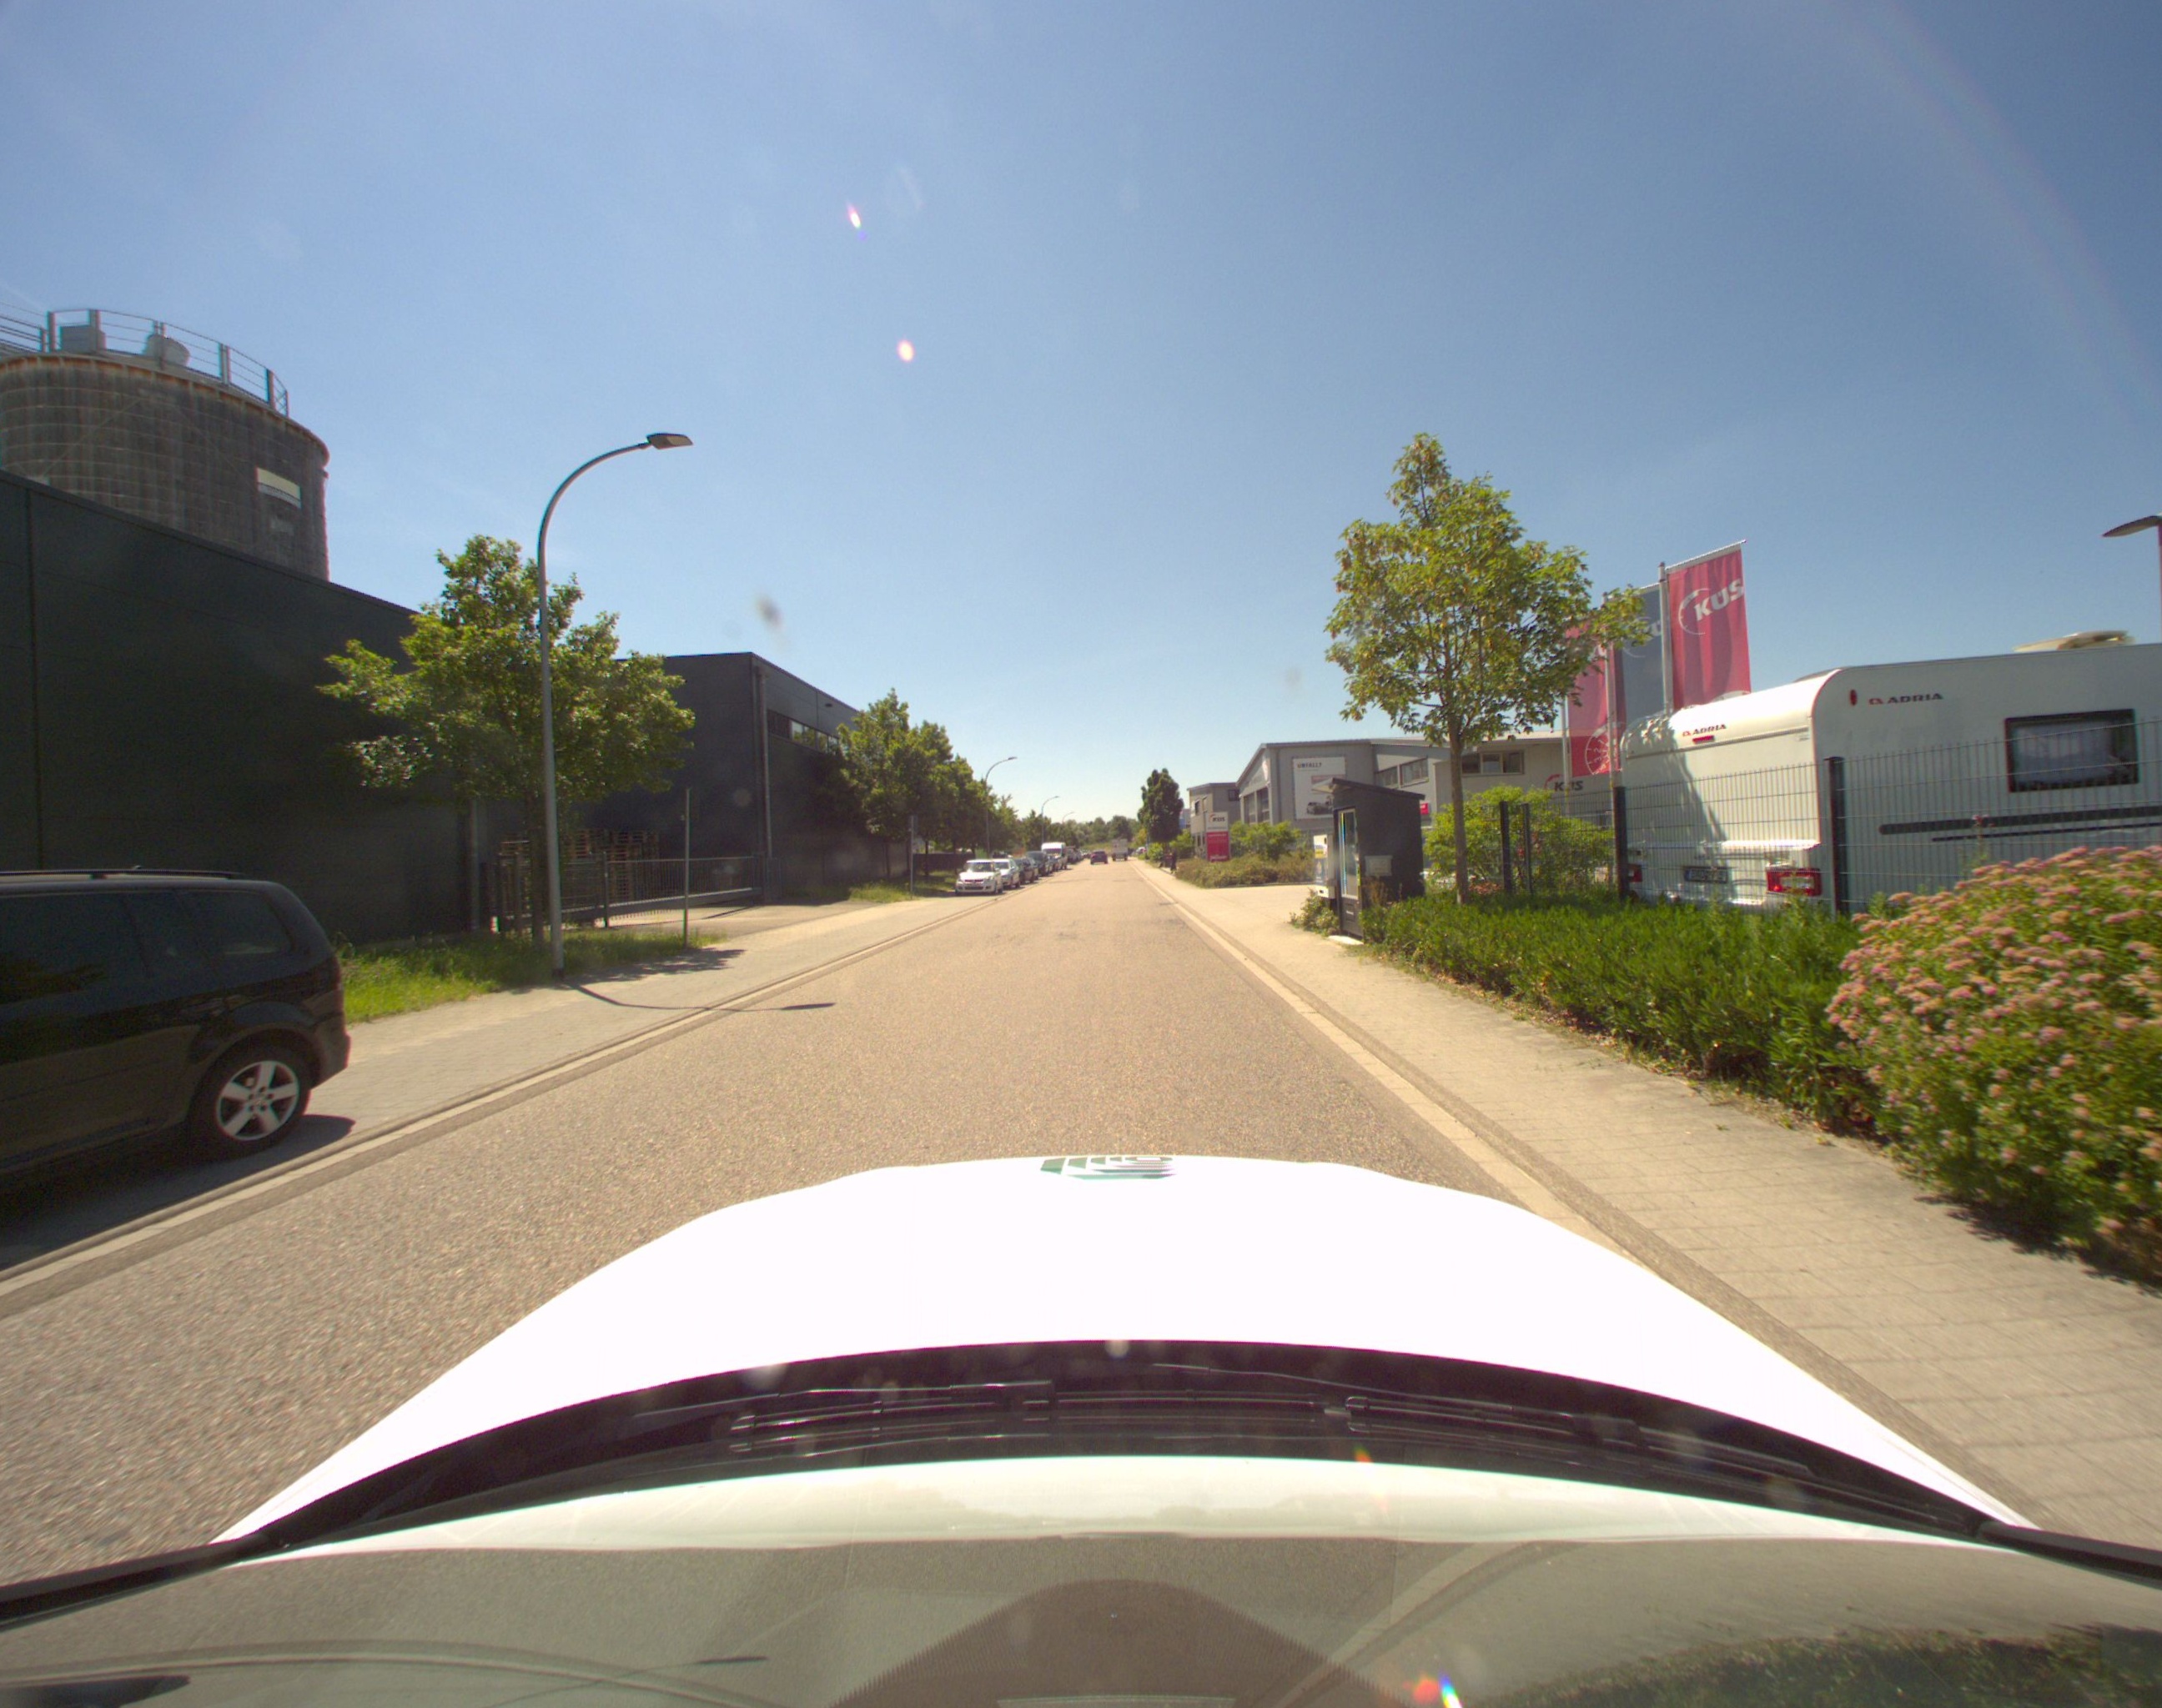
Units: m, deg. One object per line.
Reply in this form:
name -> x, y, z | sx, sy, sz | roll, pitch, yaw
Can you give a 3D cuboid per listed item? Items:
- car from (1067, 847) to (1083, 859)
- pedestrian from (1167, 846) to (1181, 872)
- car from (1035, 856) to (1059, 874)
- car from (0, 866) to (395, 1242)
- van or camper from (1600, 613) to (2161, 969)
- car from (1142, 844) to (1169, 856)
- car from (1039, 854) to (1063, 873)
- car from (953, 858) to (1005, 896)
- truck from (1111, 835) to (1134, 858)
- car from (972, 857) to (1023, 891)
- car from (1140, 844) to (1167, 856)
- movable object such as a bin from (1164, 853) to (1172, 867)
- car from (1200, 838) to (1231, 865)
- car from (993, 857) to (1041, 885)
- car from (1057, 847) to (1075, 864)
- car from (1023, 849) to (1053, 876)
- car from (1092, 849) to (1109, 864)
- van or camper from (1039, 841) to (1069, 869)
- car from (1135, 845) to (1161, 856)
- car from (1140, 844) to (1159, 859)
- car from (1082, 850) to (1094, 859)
car -> -0.833, -0.122, 109.155 | 1.791, 1.487, 4.257 | -2, 1, 4
pedestrian -> 5.882, 0.326, 51.679 | 0.501, 1.613, 0.710 | -6, 0, -15
car -> -2.701, 0.868, 65.709 | 1.471, 1.297, 3.903 | -2, 0, 4
car -> -5.622, 0.915, 3.428 | 1.764, 1.611, 4.248 | -2, 0, 1
van or camper -> 9.036, -0.584, 7.503 | 6.733, 2.585, 2.636 | -3, 0, 1
car -> 10.945, -0.549, 120.053 | 3.863, 1.750, 1.751 | 0, 0, -1
car -> -2.527, 0.779, 69.372 | 1.792, 1.449, 4.254 | -2, 0, 2
car -> -4.325, 0.952, 34.985 | 1.715, 1.476, 3.857 | -2, 0, 0
truck -> 5.413, -0.993, 107.245 | 2.921, 2.974, 6.423 | 0, 0, 3
car -> -4.049, 0.944, 40.244 | 1.792, 1.476, 4.558 | -2, 0, 3
car -> 10.851, -0.552, 122.361 | 3.863, 1.750, 1.751 | 0, 0, -1
movable object such as a bin -> 6.831, 0.466, 64.020 | 0.529, 1.052, 0.846 | -3, 0, 4
car -> 10.042, -0.158, 61.159 | 1.777, 1.783, 4.911 | -4, -1, 5
car -> -3.625, 0.929, 47.005 | 1.789, 1.476, 4.647 | -2, 0, 8
car -> -1.737, 0.158, 96.046 | 1.791, 1.848, 4.257 | -2, 1, 4
car -> -3.084, 0.577, 58.885 | 1.792, 1.814, 4.254 | -2, 0, 2
car -> 2.205, 0.258, 90.718 | 1.782, 1.623, 3.811 | 0, 0, 2
van or camper -> -2.483, 0.060, 76.064 | 2.069, 2.483, 6.138 | 0, 0, 5
car -> 10.277, -0.552, 124.931 | 3.863, 1.750, 1.751 | 0, 0, -1
car -> 8.480, -0.319, 101.354 | 1.987, 1.803, 4.139 | -3, 0, 0
car -> 1.330, 0.129, 153.376 | 1.791, 1.487, 4.257 | -2, 1, 4
